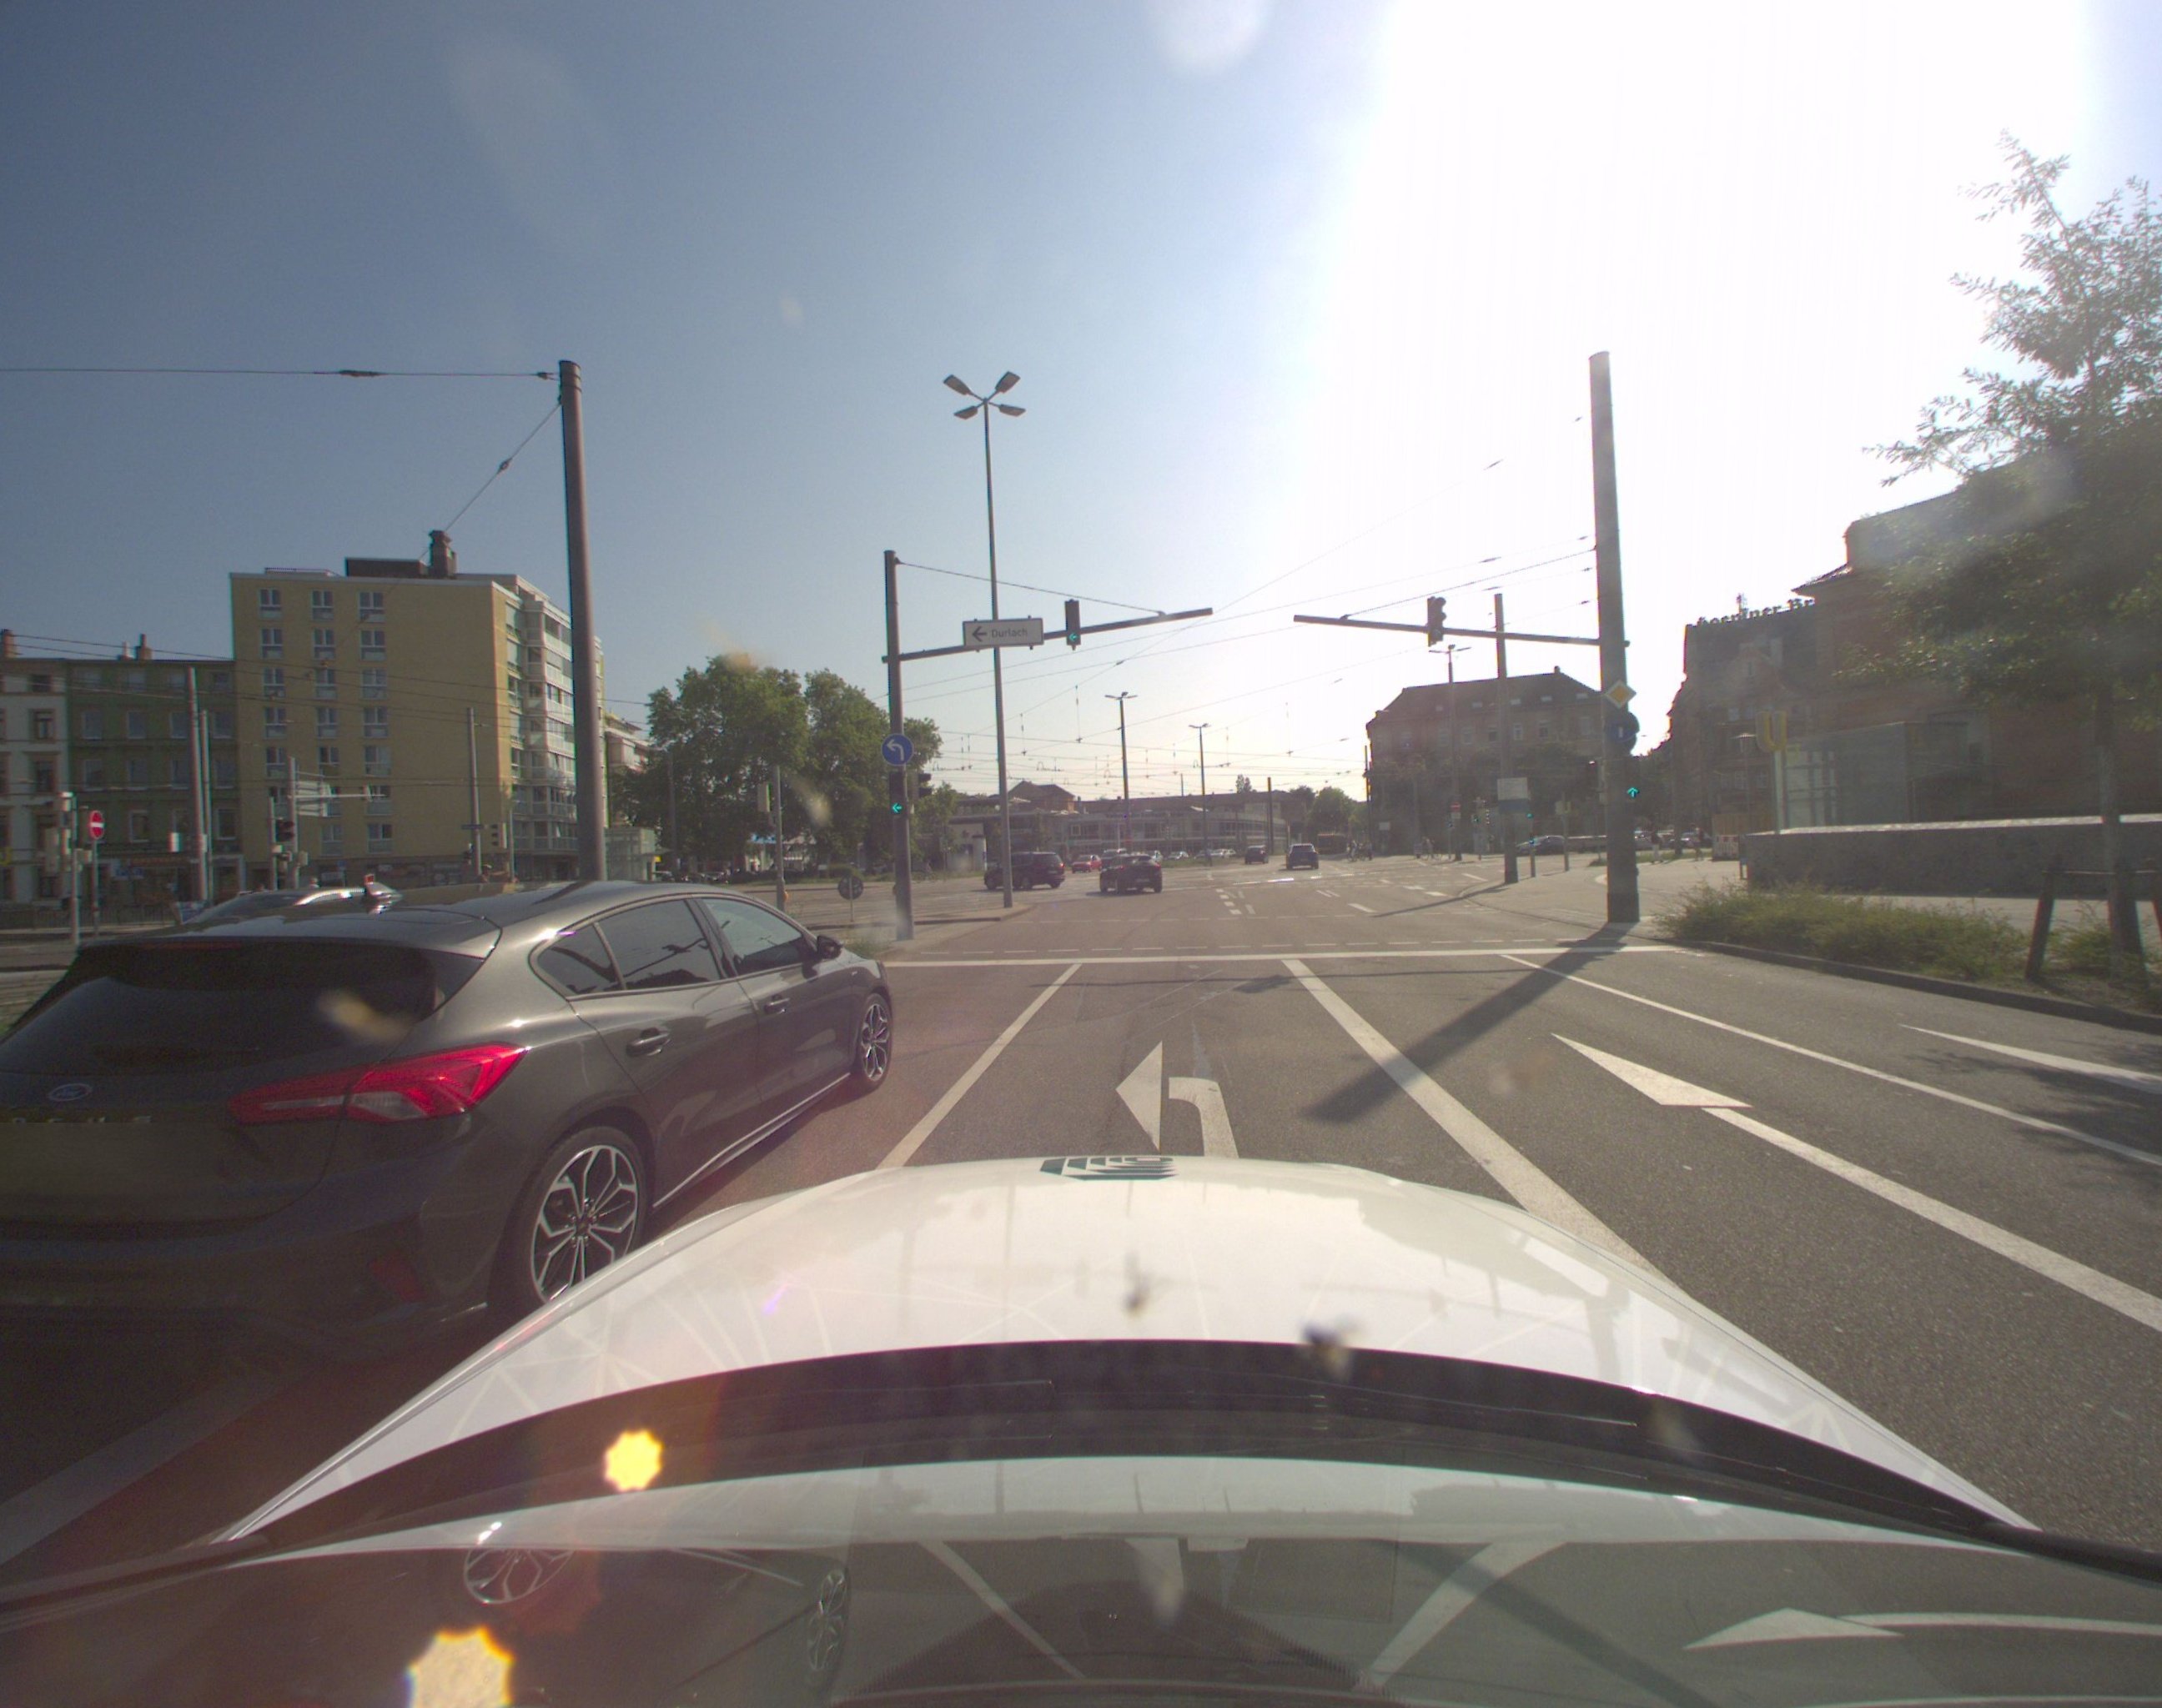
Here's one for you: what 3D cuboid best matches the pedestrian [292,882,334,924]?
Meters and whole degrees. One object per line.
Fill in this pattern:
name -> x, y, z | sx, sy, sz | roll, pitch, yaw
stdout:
pedestrian -> -32.499, 2.057, 34.476 | 0.923, 1.690, 0.919 | -2, 0, -12

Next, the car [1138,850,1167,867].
car -> 6.874, 0.446, 77.725 | 1.600, 1.475, 4.020 | -4, -1, 20

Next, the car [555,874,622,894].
car -> -38.241, 2.302, 63.302 | 4.162, 1.354, 1.474 | -2, 0, -14

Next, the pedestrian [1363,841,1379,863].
pedestrian -> 24.822, -0.148, 69.699 | 0.932, 1.797, 0.850 | -2, 0, -36

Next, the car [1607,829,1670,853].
car -> 45.699, -1.069, 66.767 | 4.669, 1.859, 2.030 | -2, 0, -23

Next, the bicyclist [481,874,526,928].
bicyclist -> -18.546, 1.509, 26.179 | 0.880, 1.652, 0.724 | -2, 0, -6

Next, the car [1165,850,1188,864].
car -> 11.102, 0.376, 94.498 | 1.600, 1.475, 4.021 | -4, -1, 21

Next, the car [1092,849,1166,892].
car -> 1.743, 0.632, 31.134 | 1.684, 1.492, 4.353 | -1, -1, -12

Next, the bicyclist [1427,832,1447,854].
bicyclist -> 28.599, -0.891, 65.481 | 0.940, 1.708, 1.082 | -2, 0, -32

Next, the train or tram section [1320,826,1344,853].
train or tram section -> 37.654, -2.136, 122.090 | 2.632, 3.699, 10.644 | -3, 0, 21

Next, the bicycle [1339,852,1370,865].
bicycle -> 23.061, 0.376, 68.618 | 2.636, 0.964, 1.082 | -2, 0, -32

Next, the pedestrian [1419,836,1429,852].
pedestrian -> 32.063, -0.915, 76.088 | 0.671, 1.471, 0.540 | -2, 0, -39

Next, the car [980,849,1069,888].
car -> -2.742, 0.691, 38.478 | 1.842, 1.714, 4.359 | -2, 0, -42

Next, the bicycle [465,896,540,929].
bicycle -> -18.572, 1.880, 26.177 | 1.811, 0.932, 0.724 | -2, 0, -7

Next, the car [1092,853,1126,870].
car -> 2.642, 0.693, 76.568 | 1.944, 1.475, 4.020 | -4, -1, 20

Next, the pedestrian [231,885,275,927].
pedestrian -> -35.021, 2.194, 34.459 | 0.923, 1.690, 0.919 | -2, 0, -12

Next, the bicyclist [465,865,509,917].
bicyclist -> -18.188, 1.109, 24.960 | 0.793, 1.527, 0.724 | -2, 0, -6

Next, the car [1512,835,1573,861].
car -> 35.860, -0.484, 63.342 | 4.255, 1.859, 1.895 | -2, 0, -23

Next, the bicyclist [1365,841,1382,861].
bicyclist -> 25.904, -0.251, 72.157 | 0.937, 1.680, 1.086 | -2, 0, -18

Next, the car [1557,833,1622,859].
car -> 40.636, -0.634, 65.110 | 4.711, 1.859, 1.897 | -2, 0, -21

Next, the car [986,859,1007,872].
car -> -11.376, 1.541, 109.680 | 1.689, 1.522, 4.110 | -2, 0, 10

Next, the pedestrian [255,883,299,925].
pedestrian -> -33.910, 2.079, 34.366 | 0.923, 1.690, 0.919 | -2, 0, -12

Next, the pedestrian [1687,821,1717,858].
pedestrian -> 28.752, -0.670, 37.705 | 0.911, 1.690, 0.930 | -2, -1, 45

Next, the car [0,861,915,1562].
car -> -2.435, 0.804, 4.064 | 1.823, 1.435, 4.557 | -2, 0, 6

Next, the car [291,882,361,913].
car -> -44.734, 2.573, 48.253 | 4.491, 1.678, 2.013 | -2, 0, 34

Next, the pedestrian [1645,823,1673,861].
pedestrian -> 26.580, -0.550, 37.428 | 0.911, 1.690, 0.843 | -2, -1, 42

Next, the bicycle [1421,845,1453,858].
bicycle -> 28.657, -0.205, 65.501 | 2.636, 0.964, 1.082 | -2, 0, -32

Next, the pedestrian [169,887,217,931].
pedestrian -> -36.208, 2.239, 33.210 | 0.923, 1.690, 0.919 | -2, 0, -12

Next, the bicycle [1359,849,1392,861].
bicycle -> 26.100, 0.109, 72.226 | 2.626, 0.964, 1.086 | -2, 0, -19

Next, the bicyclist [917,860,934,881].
bicyclist -> -11.737, 1.254, 61.478 | 1.162, 1.527, 0.958 | -3, 0, -9

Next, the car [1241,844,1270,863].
car -> 15.785, -0.074, 73.466 | 1.810, 1.535, 4.435 | -3, 0, 21

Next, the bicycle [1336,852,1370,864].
bicycle -> 23.665, 0.356, 70.854 | 2.626, 0.964, 1.086 | -2, 0, -19

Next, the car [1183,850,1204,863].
car -> 14.043, 0.273, 101.357 | 1.600, 1.475, 4.021 | -4, -1, 21

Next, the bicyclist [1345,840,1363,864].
bicyclist -> 23.000, -0.166, 68.599 | 0.940, 2.024, 1.082 | -2, 0, -32

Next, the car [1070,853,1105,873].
car -> 0.601, 0.743, 69.575 | 1.600, 1.475, 4.020 | -4, -1, 20

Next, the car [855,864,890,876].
car -> -28.820, 2.239, 112.717 | 1.683, 1.522, 4.544 | -2, 0, 36

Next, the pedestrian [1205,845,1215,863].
pedestrian -> 11.078, -0.013, 69.844 | 0.772, 1.503, 0.713 | -2, 0, 13

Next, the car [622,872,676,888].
car -> -40.302, 2.414, 76.076 | 4.162, 1.354, 1.570 | -2, 0, -14

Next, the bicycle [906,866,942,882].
bicycle -> -11.803, 1.512, 61.457 | 2.599, 1.057, 0.958 | -2, 0, -10

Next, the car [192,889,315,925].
car -> -44.050, 2.807, 43.442 | 4.392, 1.535, 1.828 | -3, 0, -6

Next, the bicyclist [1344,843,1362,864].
bicyclist -> 23.634, -0.065, 70.847 | 0.937, 1.800, 1.086 | -2, 0, -19

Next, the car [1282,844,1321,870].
car -> 13.683, 0.152, 50.683 | 1.814, 1.428, 4.424 | -3, 0, 9

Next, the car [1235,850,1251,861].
car -> 24.550, 0.252, 123.488 | 1.600, 1.475, 4.021 | -4, -1, 21

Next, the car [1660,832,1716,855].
car -> 51.758, -0.897, 69.397 | 4.255, 1.859, 1.895 | -2, 0, -23

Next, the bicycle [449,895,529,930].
bicycle -> -18.126, 1.785, 24.960 | 1.811, 0.932, 0.724 | -2, 0, -7

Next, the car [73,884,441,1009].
car -> -12.373, 1.289, 12.636 | 1.882, 1.452, 3.675 | -2, 0, 1

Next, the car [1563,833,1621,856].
car -> 45.241, -0.803, 72.104 | 4.264, 1.859, 1.923 | -2, 0, -13

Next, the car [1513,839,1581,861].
car -> 33.852, -0.291, 59.190 | 4.392, 1.397, 2.008 | -2, 0, -23

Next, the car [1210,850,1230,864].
car -> 16.984, 0.333, 99.312 | 1.600, 1.475, 4.021 | -4, -1, 21
